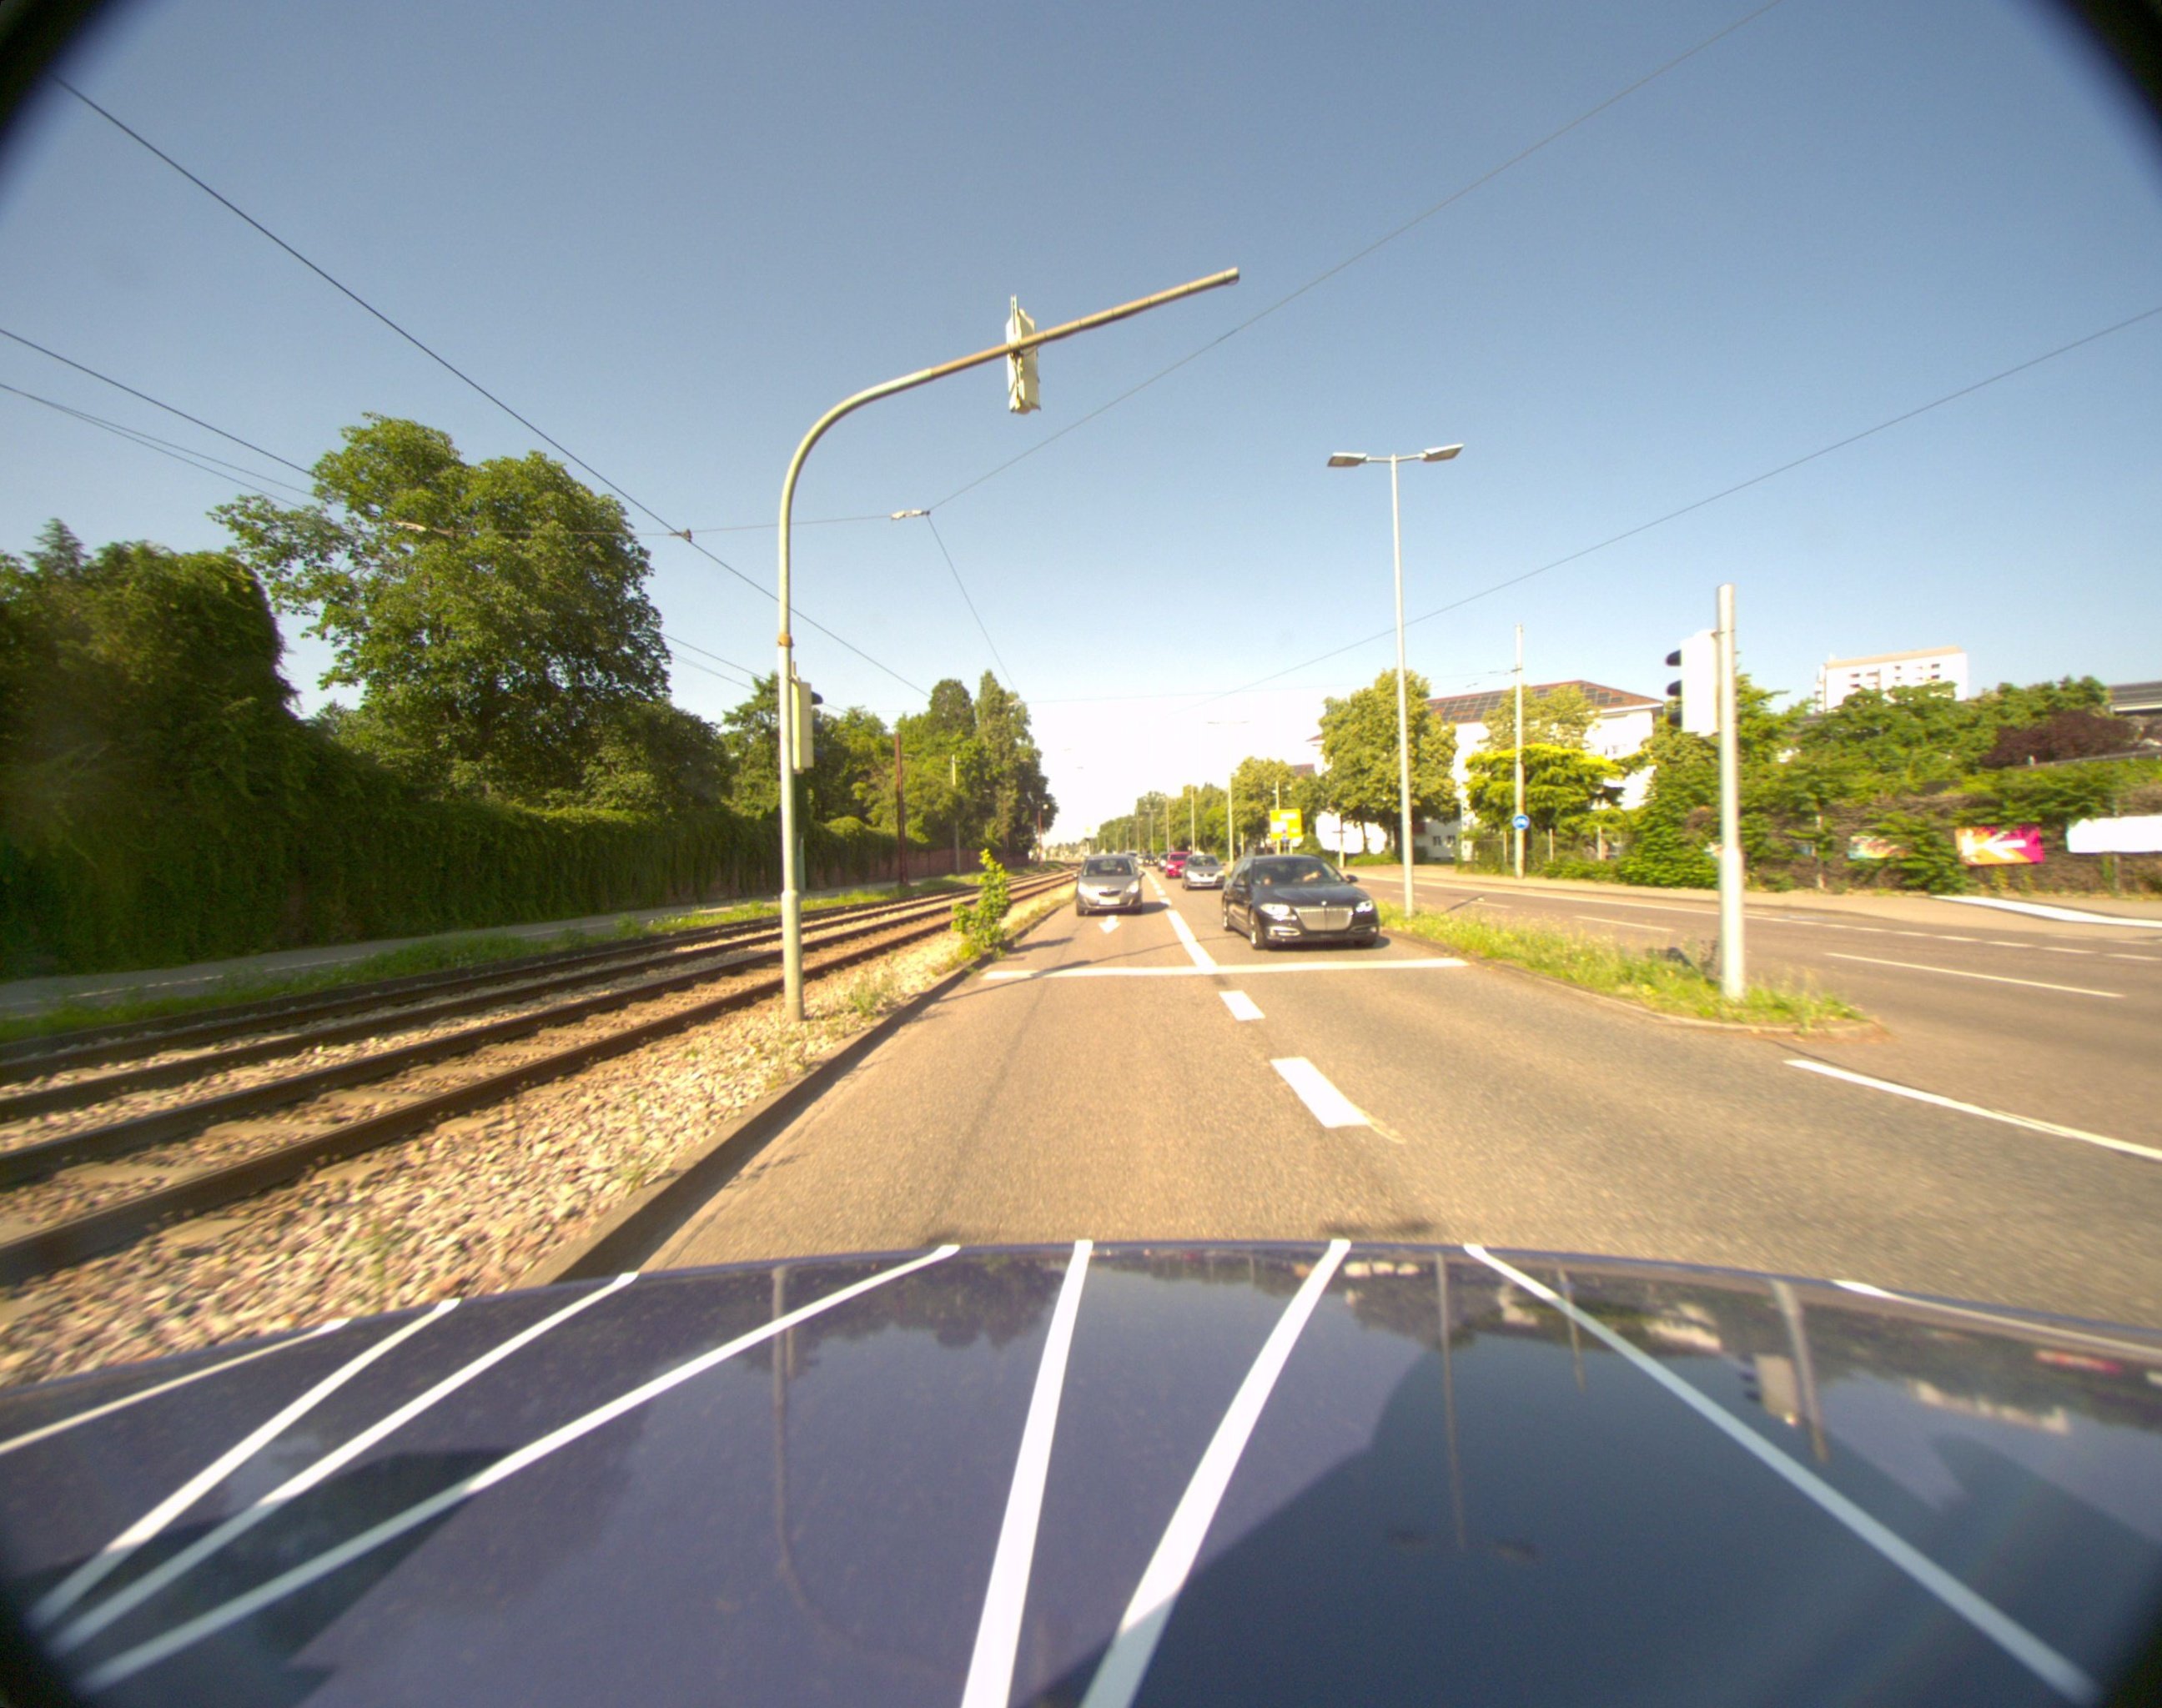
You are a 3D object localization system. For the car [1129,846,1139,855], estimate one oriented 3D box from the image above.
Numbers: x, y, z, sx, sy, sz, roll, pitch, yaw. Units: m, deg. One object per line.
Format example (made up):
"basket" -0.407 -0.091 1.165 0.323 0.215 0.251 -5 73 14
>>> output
"car" 9.612 -0.590 138.884 1.709 1.513 3.834 -3 0 3

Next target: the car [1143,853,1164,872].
"car" 6.405 0.711 66.552 1.709 1.513 3.834 -3 0 6

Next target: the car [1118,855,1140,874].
"car" 3.962 0.841 63.054 1.710 1.513 3.833 -3 0 2

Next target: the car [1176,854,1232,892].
"car" 5.106 0.747 32.010 1.692 1.420 3.833 -3 0 0

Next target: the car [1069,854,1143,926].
"car" 0.706 0.845 19.515 1.650 1.581 3.834 -3 0 4

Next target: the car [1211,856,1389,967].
"car" 3.528 0.827 13.203 1.764 1.477 4.645 -3 0 1

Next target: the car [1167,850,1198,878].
"car" 6.254 0.574 47.137 1.692 1.573 3.834 -3 0 5
